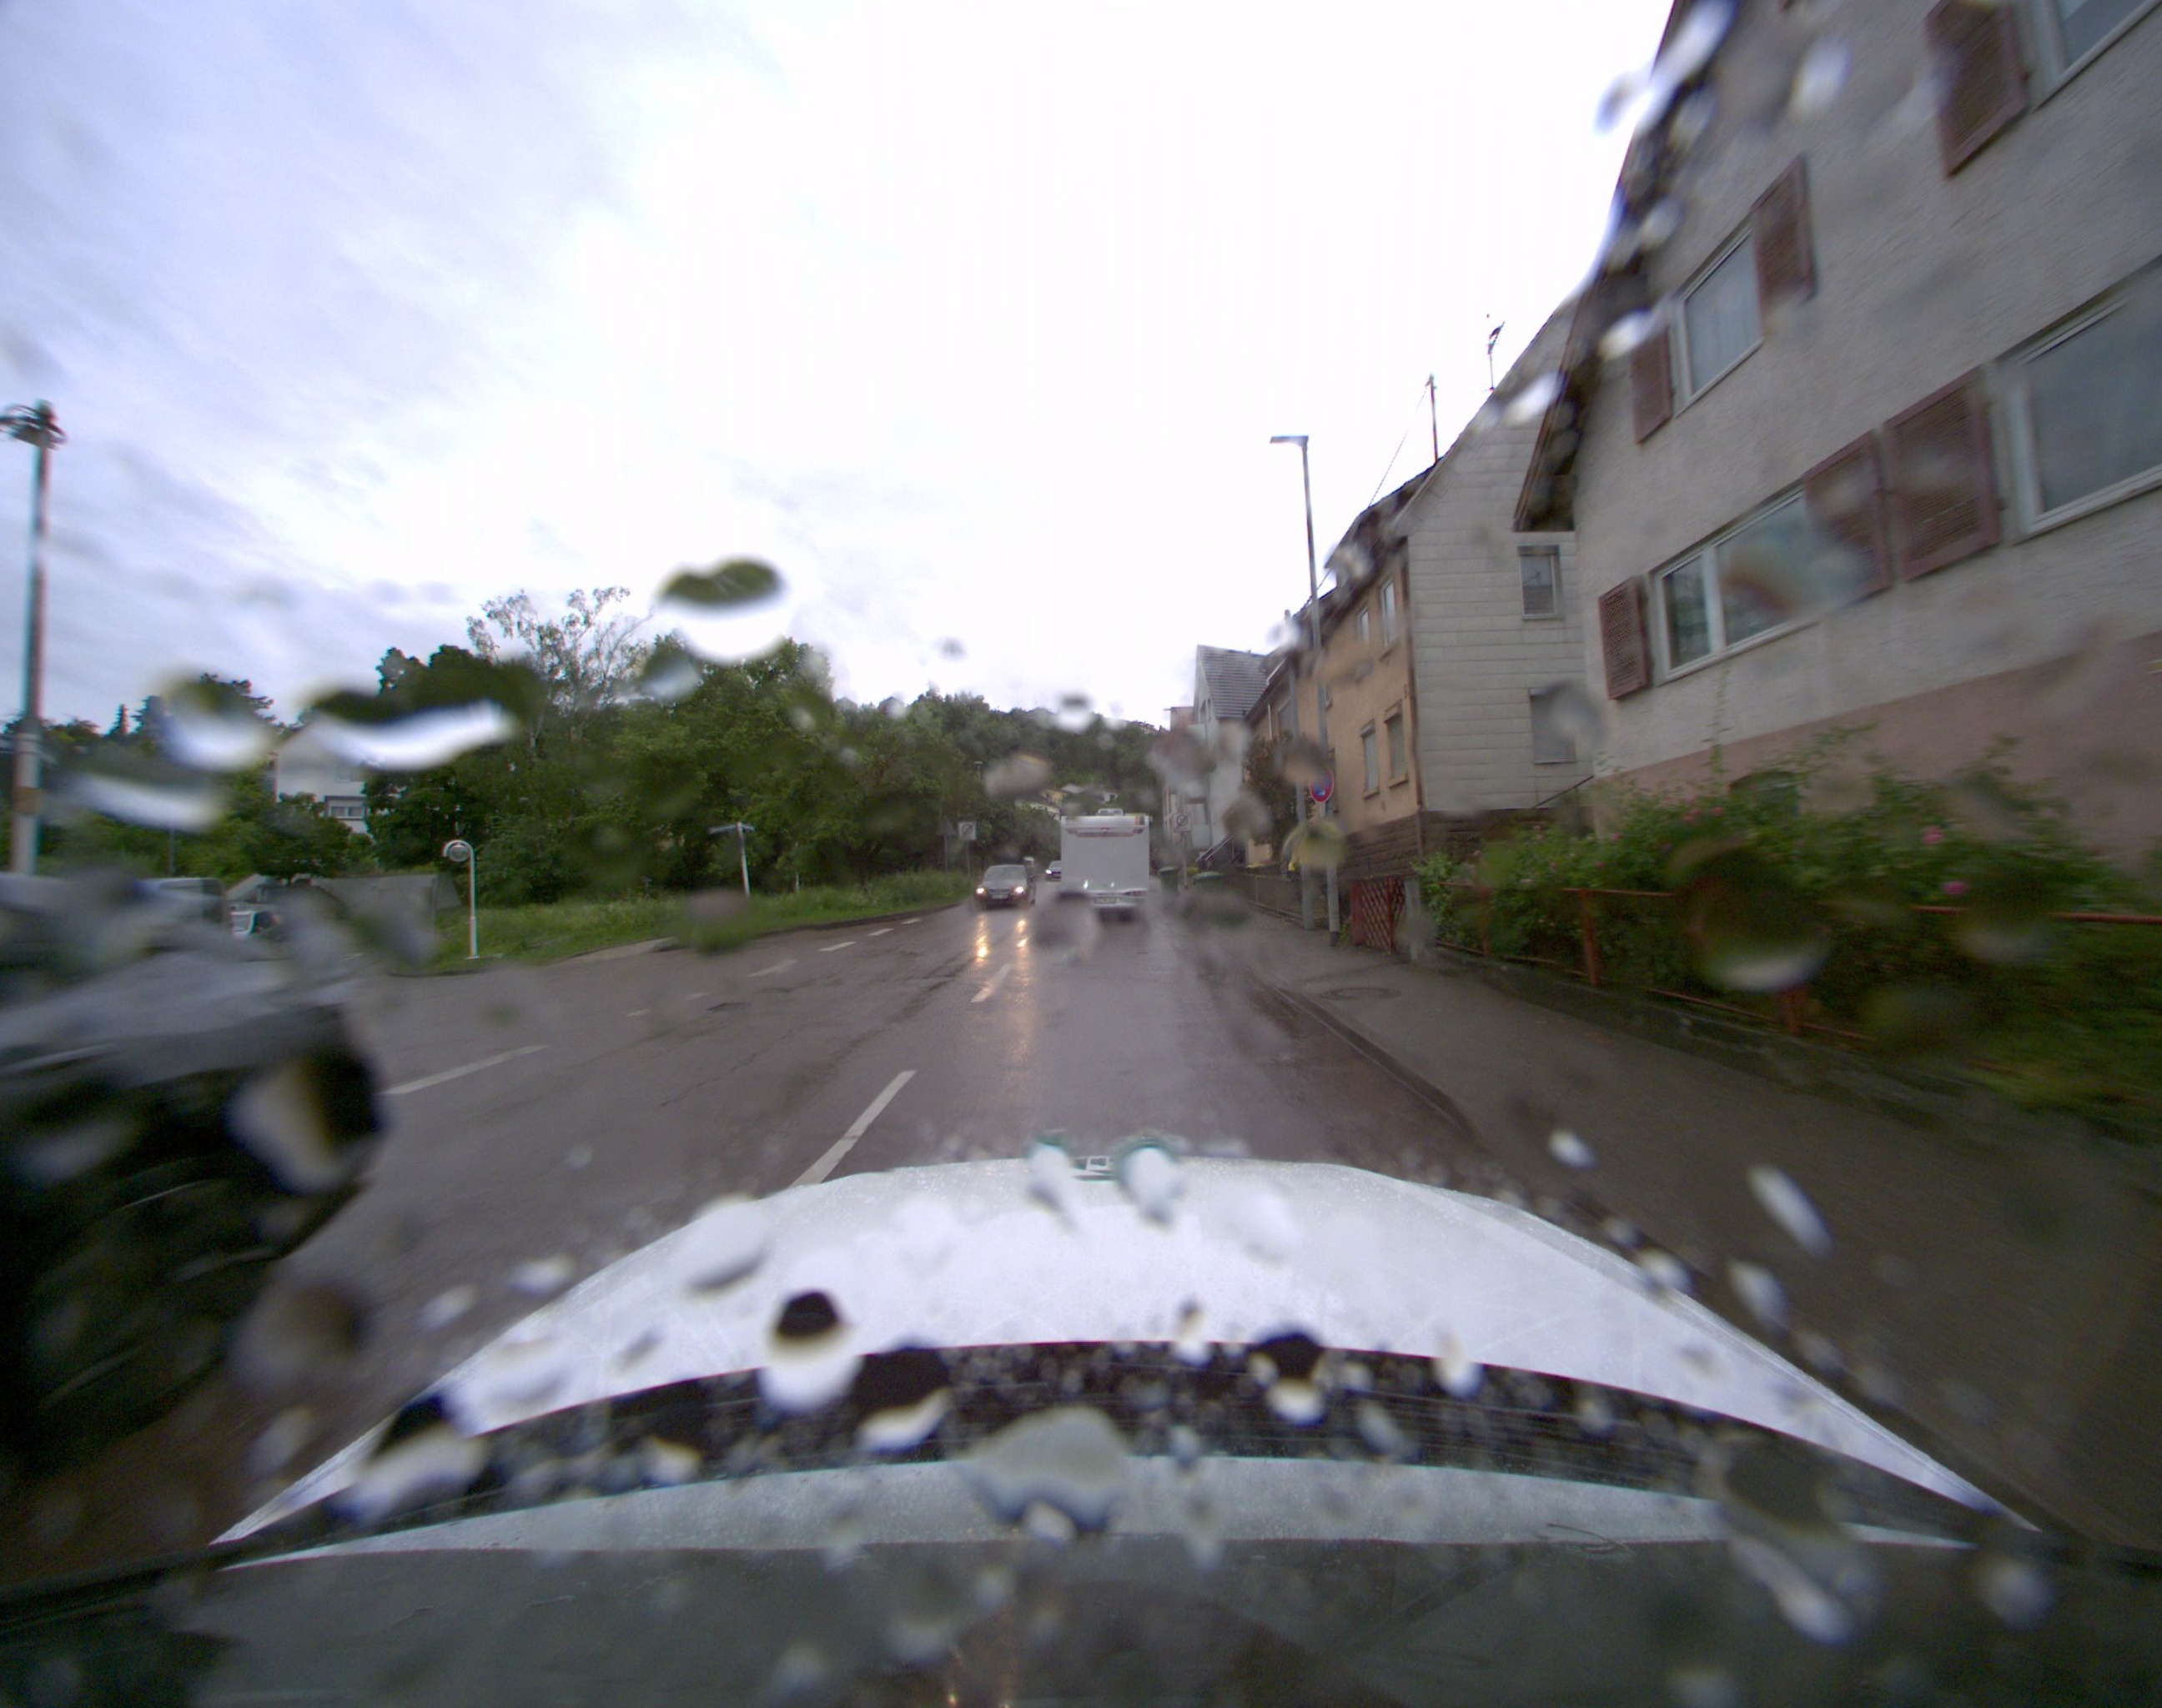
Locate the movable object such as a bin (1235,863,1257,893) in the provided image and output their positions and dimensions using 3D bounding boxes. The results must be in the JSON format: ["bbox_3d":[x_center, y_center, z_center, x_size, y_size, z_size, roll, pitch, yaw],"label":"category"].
[{"bbox_3d":[6.397,0.913,31.591,0.658,1.093,0.545,-5,-1,-1],"label":"movable object such as a bin"}]

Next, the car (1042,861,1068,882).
[{"bbox_3d":[-1.908,1.266,60.597,1.713,1.430,3.844,-1,-1,0],"label":"car"}]

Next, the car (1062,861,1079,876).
[{"bbox_3d":[-1.088,1.479,84.080,1.612,1.441,3.738,-1,-1,1],"label":"car"}]

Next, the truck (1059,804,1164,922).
[{"bbox_3d":[0.835,0.241,22.976,2.506,2.817,6.203,-1,-1,1],"label":"truck"}]

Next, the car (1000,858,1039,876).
[{"bbox_3d":[-6.811,1.429,90.332,4.088,1.800,2.002,-1,-1,3],"label":"car"}]

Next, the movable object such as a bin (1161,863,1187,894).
[{"bbox_3d":[3.406,0.912,29.996,0.910,1.103,0.703,-1,-1,3],"label":"movable object such as a bin"}]

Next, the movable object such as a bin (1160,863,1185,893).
[{"bbox_3d":[3.447,0.917,30.743,0.910,1.103,0.703,-1,-1,3],"label":"movable object such as a bin"}]

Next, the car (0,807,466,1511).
[{"bbox_3d":[-3.489,0.741,1.220,1.745,1.689,4.376,-1,-1,1],"label":"car"}]

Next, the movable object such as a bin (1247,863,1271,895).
[{"bbox_3d":[6.365,0.882,29.118,0.643,1.093,0.545,-5,-1,-1],"label":"movable object such as a bin"}]

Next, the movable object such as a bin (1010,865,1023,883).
[{"bbox_3d":[-4.026,1.257,50.948,0.718,1.100,0.758,0,-1,2],"label":"movable object such as a bin"}]

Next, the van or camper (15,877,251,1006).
[{"bbox_3d":[-22.292,1.864,19.531,1.646,2.557,6.008,1,-2,-29],"label":"van or camper"}]

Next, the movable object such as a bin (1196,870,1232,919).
[{"bbox_3d":[2.954,0.901,18.191,0.717,1.052,0.801,-1,-1,4],"label":"movable object such as a bin"}]

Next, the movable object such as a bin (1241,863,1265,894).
[{"bbox_3d":[6.294,0.888,29.774,0.658,1.093,0.545,-5,-1,-1],"label":"movable object such as a bin"}]

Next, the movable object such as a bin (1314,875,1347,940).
[{"bbox_3d":[4.071,0.863,13.316,0.378,1.018,0.487,-1,-1,2],"label":"movable object such as a bin"}]

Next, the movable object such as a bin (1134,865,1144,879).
[{"bbox_3d":[3.931,1.207,55.071,0.628,0.897,0.712,-1,-1,2],"label":"movable object such as a bin"}]

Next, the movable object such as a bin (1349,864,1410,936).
[{"bbox_3d":[4.792,0.723,13.105,0.608,1.077,0.792,-5,-1,-1],"label":"movable object such as a bin"}]

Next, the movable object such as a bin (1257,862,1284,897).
[{"bbox_3d":[6.327,0.837,27.163,0.658,1.093,0.655,-5,-1,-1],"label":"movable object such as a bin"}]

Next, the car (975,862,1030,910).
[{"bbox_3d":[-2.583,1.018,27.483,1.556,1.454,4.081,-1,0,-2],"label":"car"}]
